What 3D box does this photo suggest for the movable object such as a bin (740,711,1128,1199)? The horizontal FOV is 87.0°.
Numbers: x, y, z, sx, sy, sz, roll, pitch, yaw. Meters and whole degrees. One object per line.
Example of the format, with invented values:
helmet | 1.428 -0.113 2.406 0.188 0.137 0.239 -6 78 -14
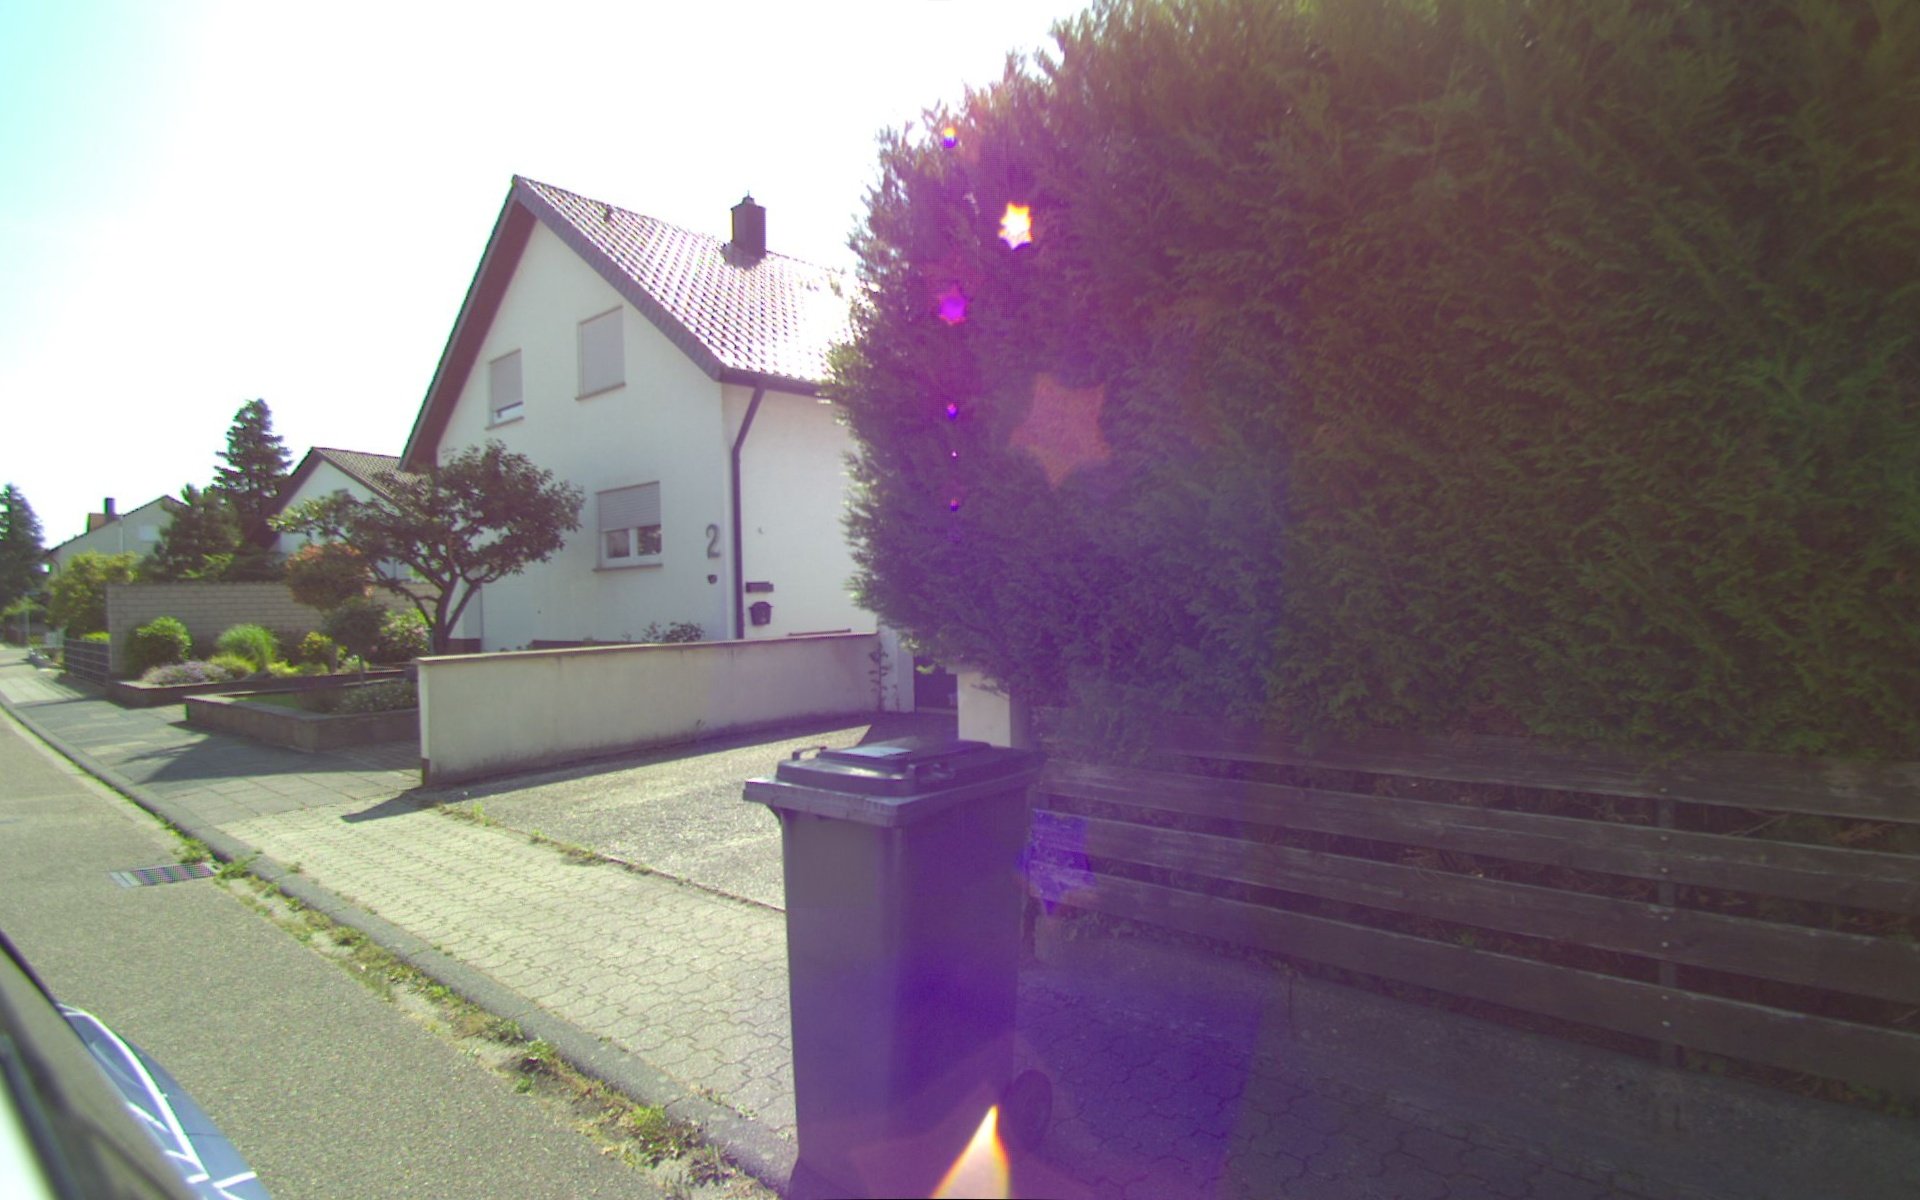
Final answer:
movable object such as a bin | -0.051 0.876 2.640 0.611 1.071 0.809 -2 -1 42
